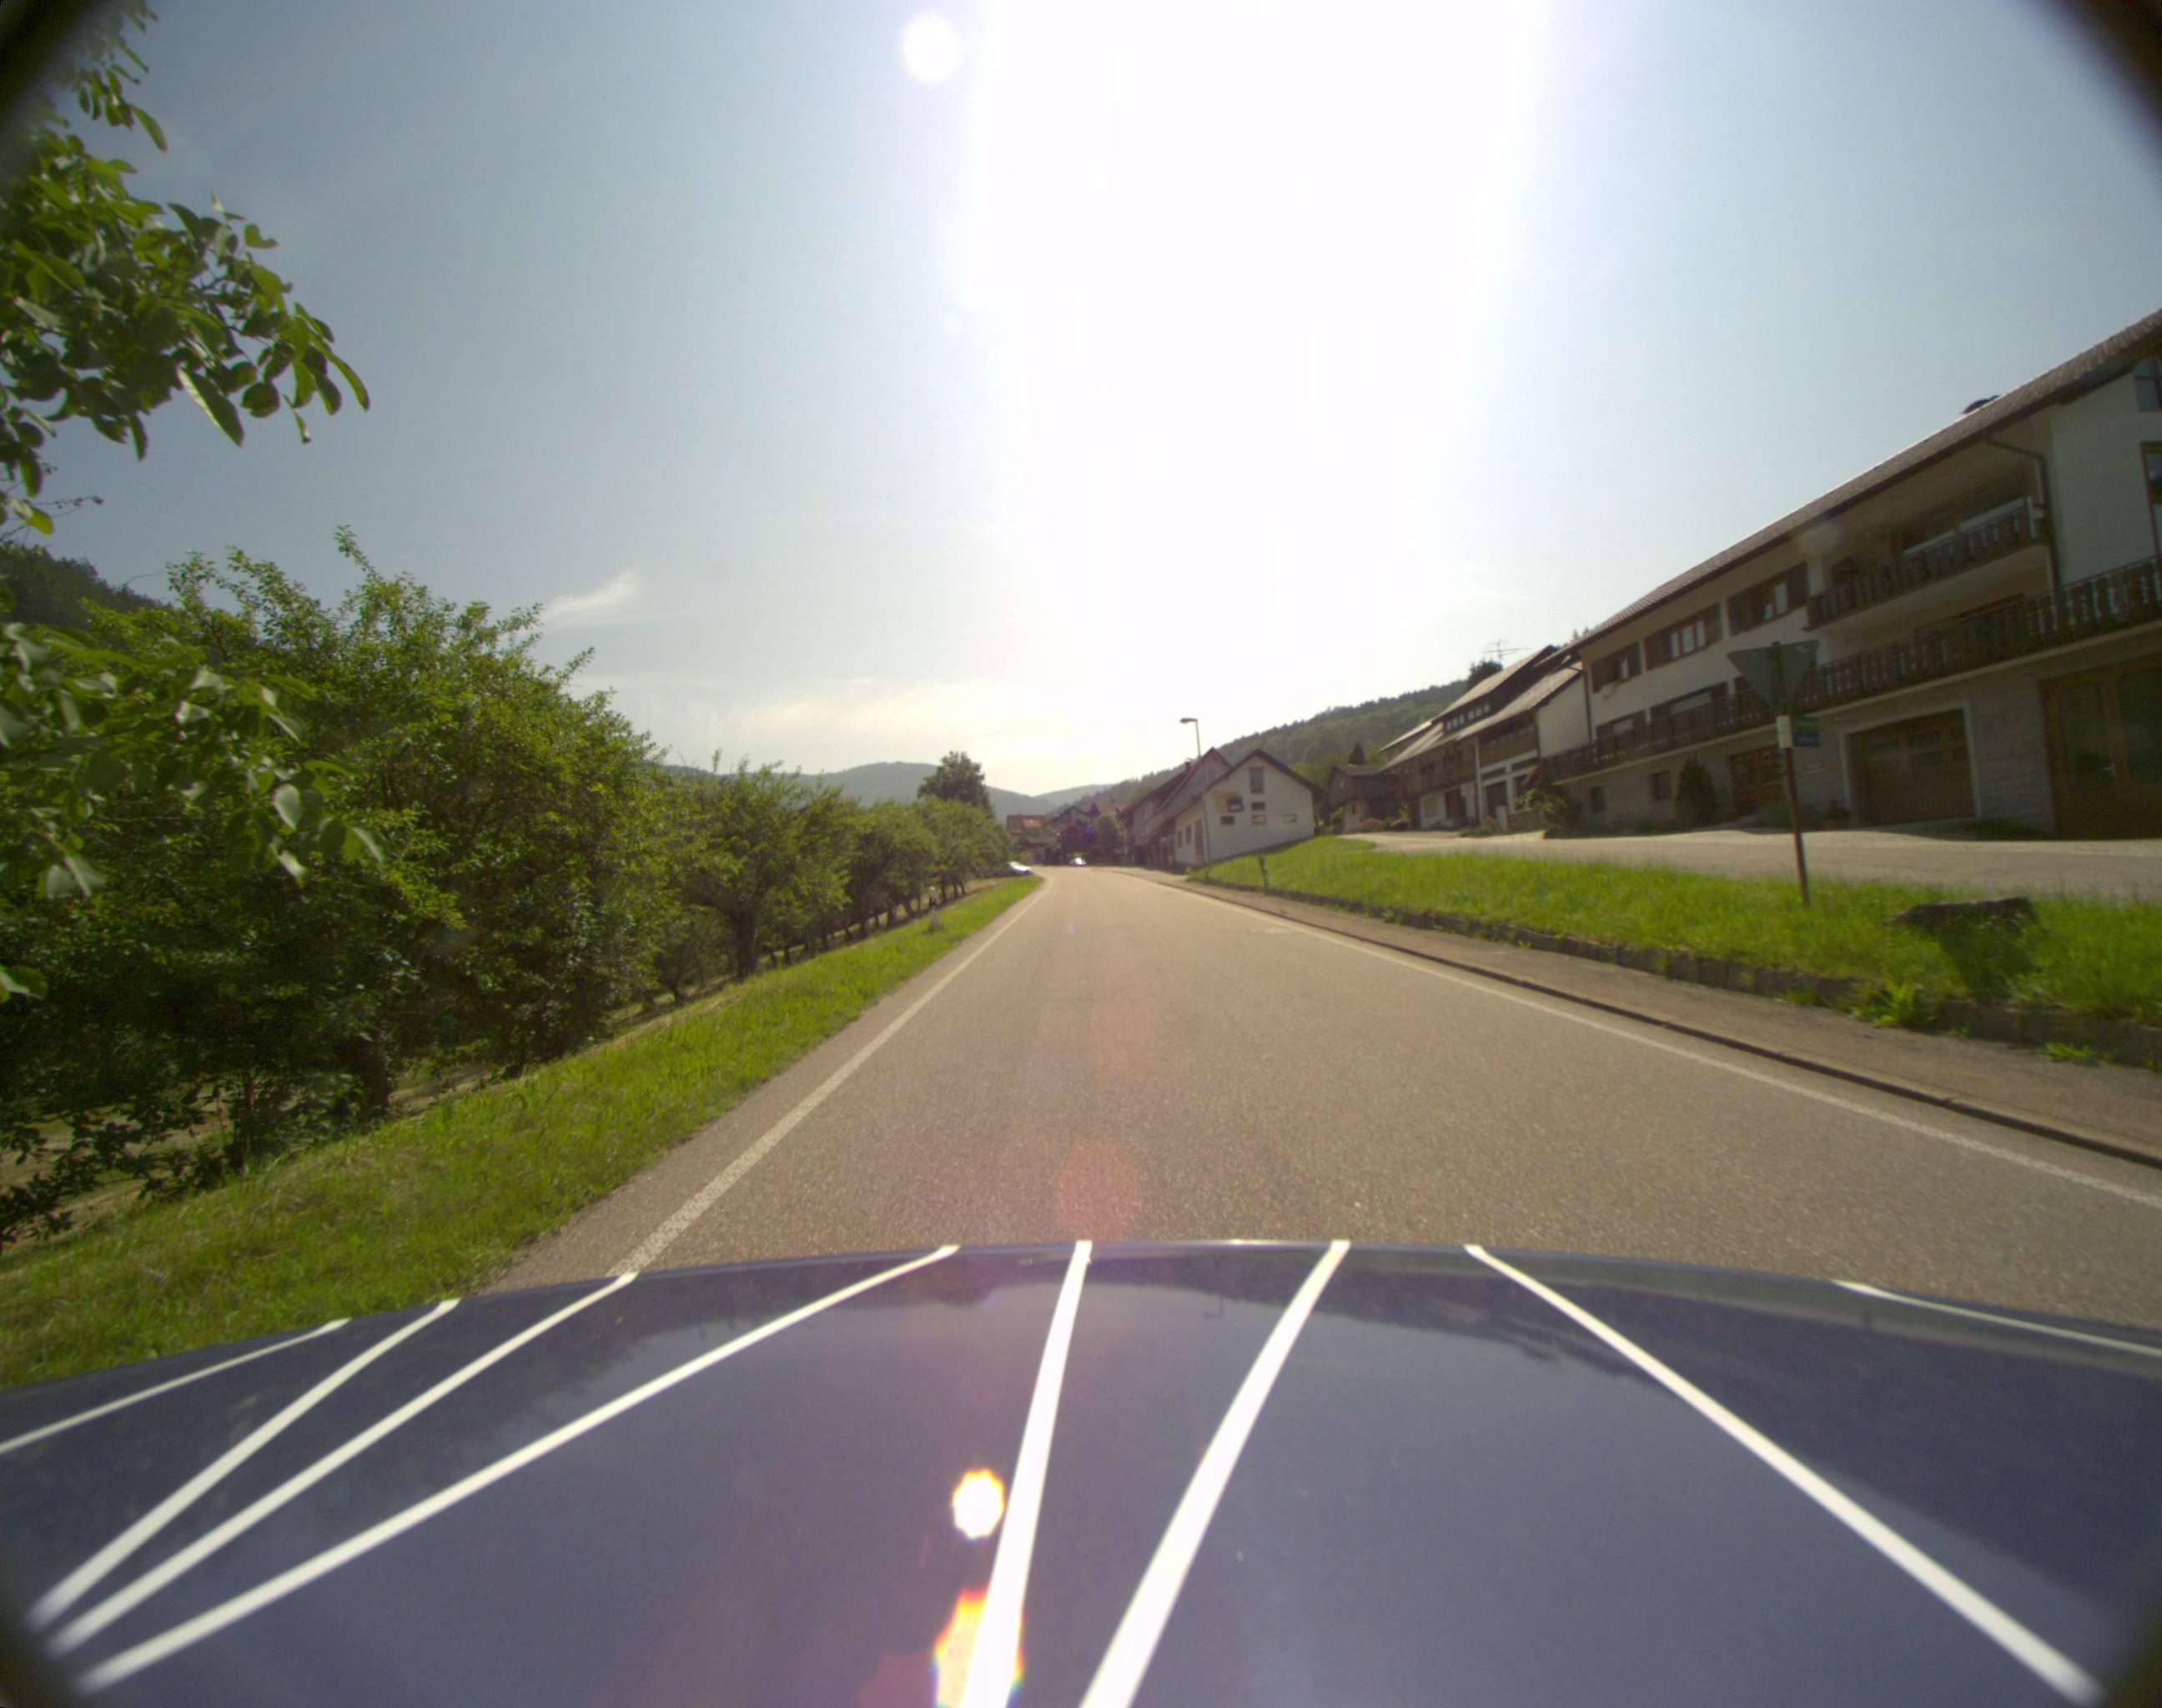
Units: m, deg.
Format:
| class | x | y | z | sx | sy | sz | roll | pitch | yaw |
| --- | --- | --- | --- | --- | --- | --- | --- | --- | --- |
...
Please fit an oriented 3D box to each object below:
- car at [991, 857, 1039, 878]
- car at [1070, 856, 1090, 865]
| class | x | y | z | sx | sy | sz | roll | pitch | yaw |
| --- | --- | --- | --- | --- | --- | --- | --- | --- | --- |
| car | -6.192 | 1.270 | 71.258 | 4.451 | 1.562 | 1.908 | -5 | 1 | 45 |
| car | -0.203 | 1.080 | 120.103 | 1.789 | 1.331 | 4.688 | -2 | 0 | -19 |
